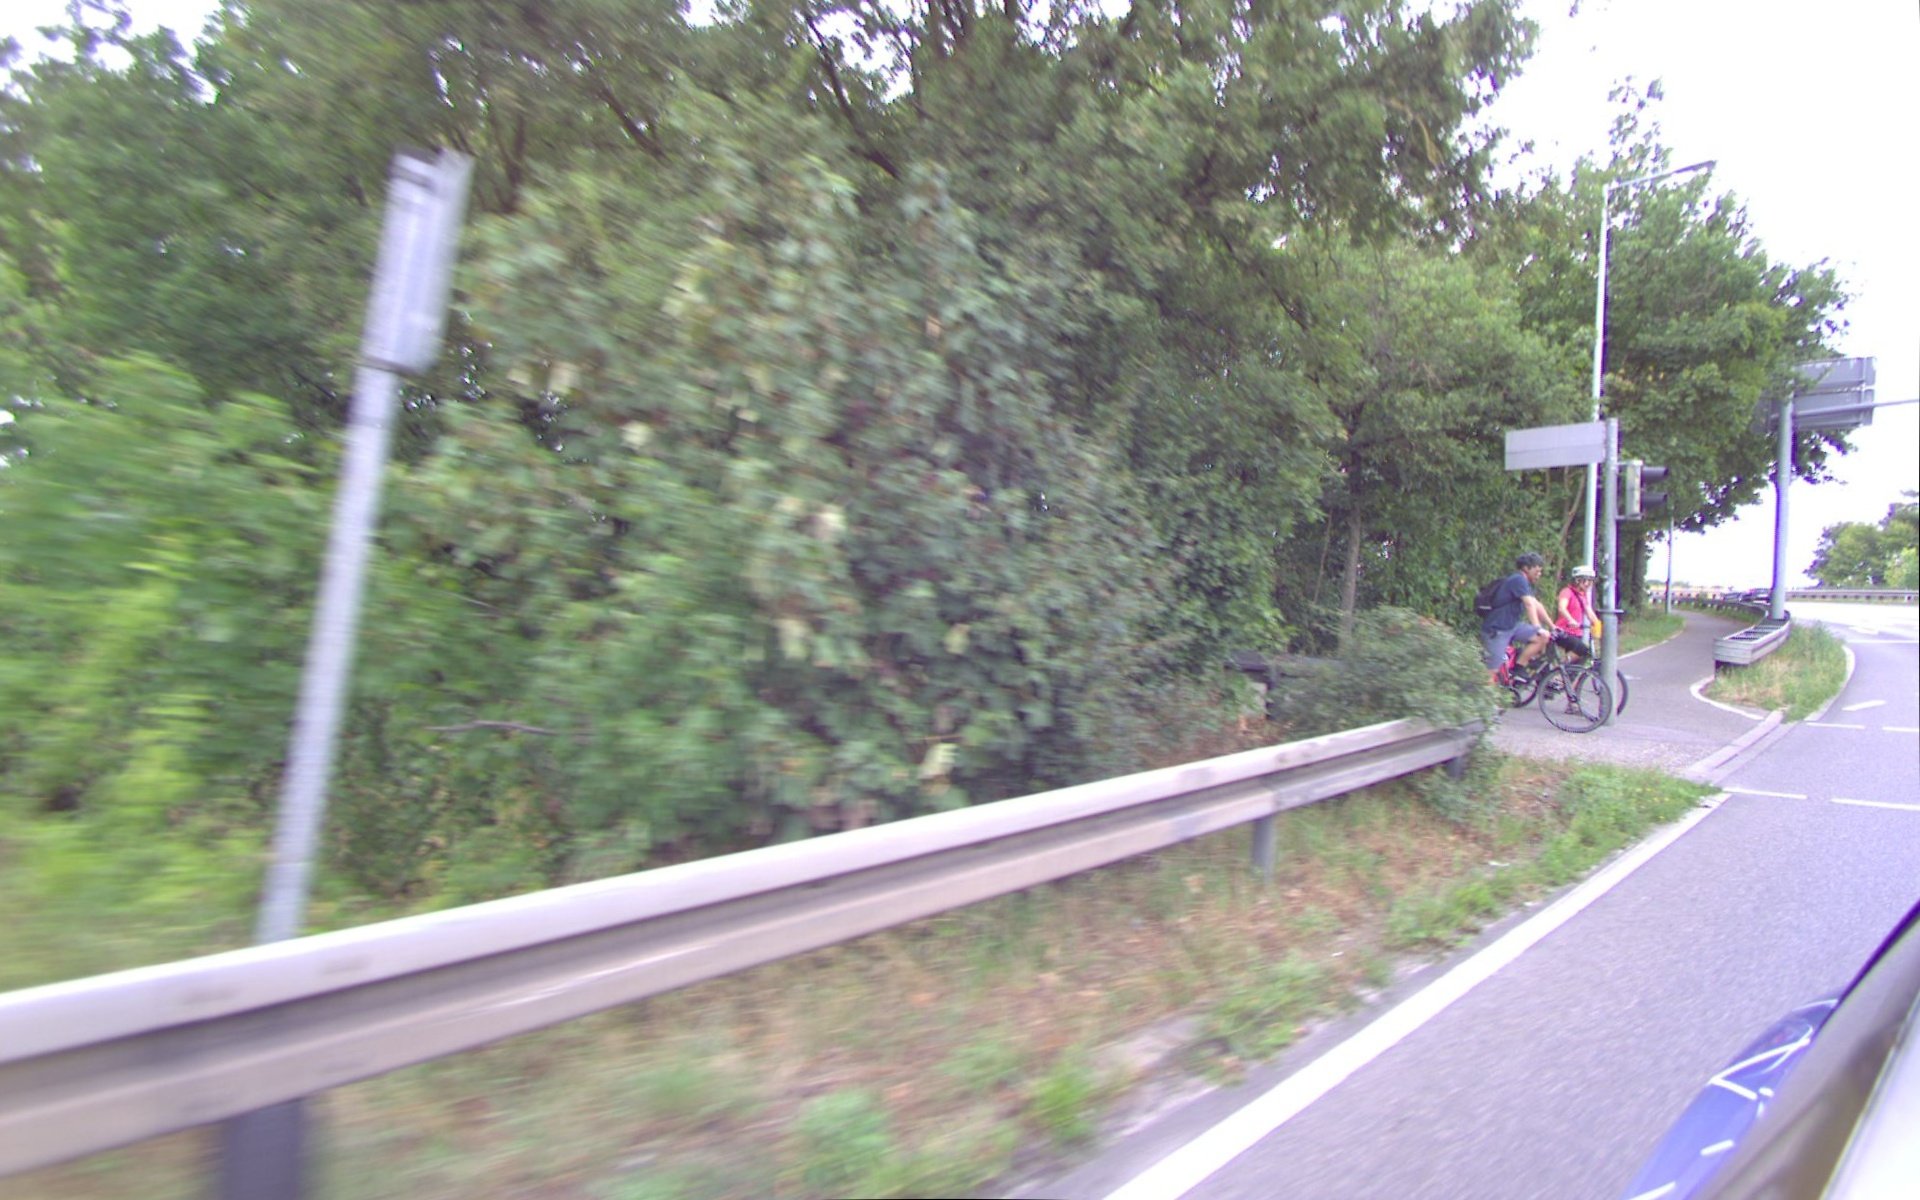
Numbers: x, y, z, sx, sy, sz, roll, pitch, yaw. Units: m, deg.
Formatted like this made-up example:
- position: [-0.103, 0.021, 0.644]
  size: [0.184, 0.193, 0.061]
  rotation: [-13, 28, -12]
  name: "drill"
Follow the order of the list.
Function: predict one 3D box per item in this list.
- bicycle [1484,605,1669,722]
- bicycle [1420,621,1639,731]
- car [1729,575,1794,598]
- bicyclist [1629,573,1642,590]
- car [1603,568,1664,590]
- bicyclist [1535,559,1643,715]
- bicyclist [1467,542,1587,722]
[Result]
- position: [7.262, 0.702, 12.011]
  size: [0.618, 1.152, 1.750]
  rotation: [0, 4, -31]
  name: "bicycle"
- position: [6.192, 0.788, 11.097]
  size: [1.971, 0.952, 0.651]
  rotation: [4, 3, 43]
  name: "bicycle"
- position: [53.514, -0.917, 67.660]
  size: [1.975, 1.473, 4.625]
  rotation: [0, 1, 19]
  name: "car"
- position: [63.925, -1.754, 95.767]
  size: [0.600, 1.559, 0.758]
  rotation: [0, 1, -4]
  name: "bicyclist"
- position: [49.936, -1.554, 75.163]
  size: [1.903, 1.474, 3.885]
  rotation: [3, 2, 2]
  name: "car"
- position: [7.378, 0.402, 11.891]
  size: [0.624, 1.753, 0.854]
  rotation: [0, 2, -31]
  name: "bicyclist"
- position: [6.204, 0.313, 11.092]
  size: [0.948, 1.866, 0.654]
  rotation: [4, 3, 42]
  name: "bicyclist"
